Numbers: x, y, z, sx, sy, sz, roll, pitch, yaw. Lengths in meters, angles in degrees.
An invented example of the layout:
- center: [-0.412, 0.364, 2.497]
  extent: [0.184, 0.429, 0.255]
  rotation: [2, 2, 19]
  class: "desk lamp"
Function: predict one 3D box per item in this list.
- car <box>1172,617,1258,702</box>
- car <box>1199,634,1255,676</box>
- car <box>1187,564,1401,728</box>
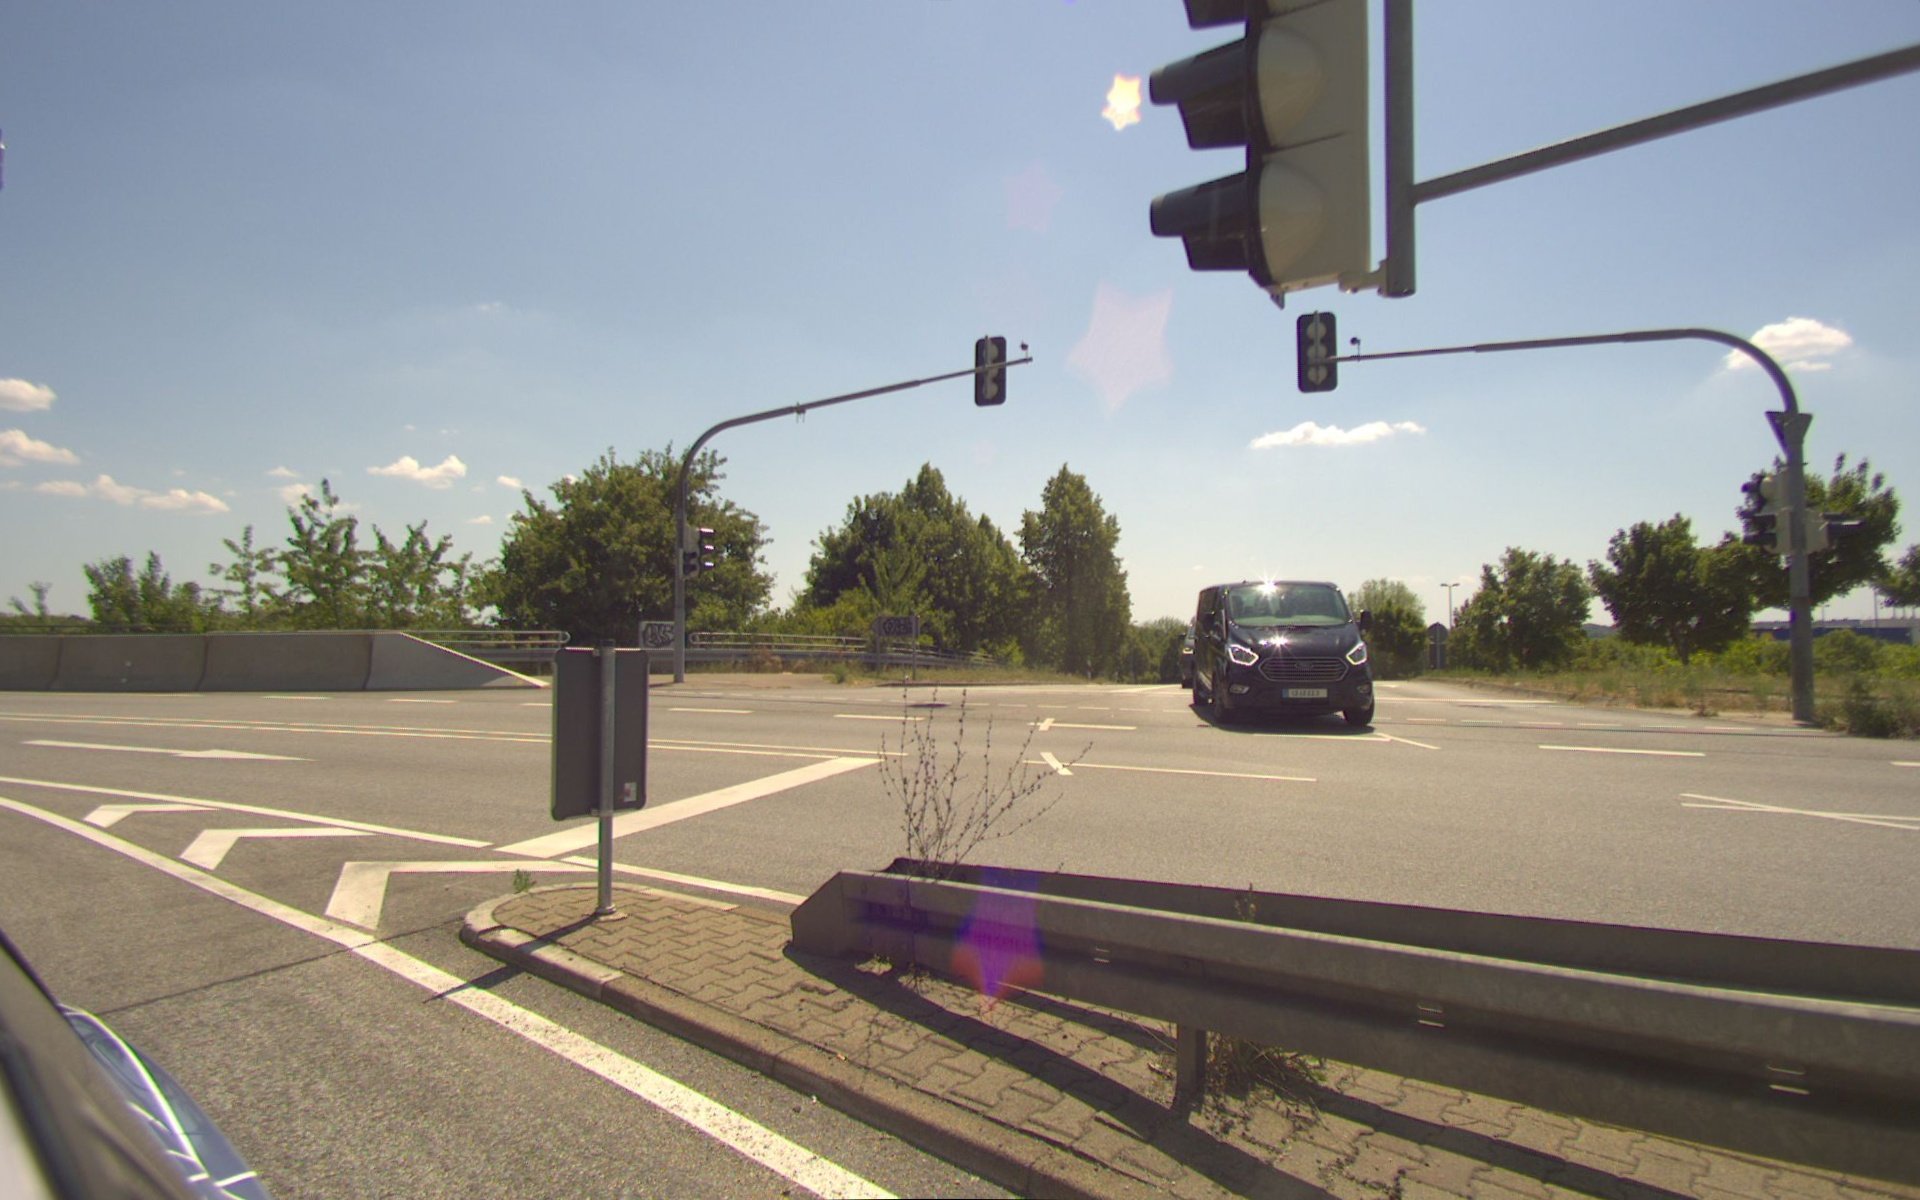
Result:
- center: [6.430, 1.509, 25.851]
  extent: [1.925, 1.934, 4.514]
  rotation: [0, -3, 13]
  class: "car"
- center: [10.459, 2.112, 39.520]
  extent: [1.781, 1.540, 3.974]
  rotation: [-1, -2, 19]
  class: "car"
- center: [4.644, 0.698, 14.968]
  extent: [2.101, 1.952, 5.395]
  rotation: [1, -3, 9]
  class: "car"
